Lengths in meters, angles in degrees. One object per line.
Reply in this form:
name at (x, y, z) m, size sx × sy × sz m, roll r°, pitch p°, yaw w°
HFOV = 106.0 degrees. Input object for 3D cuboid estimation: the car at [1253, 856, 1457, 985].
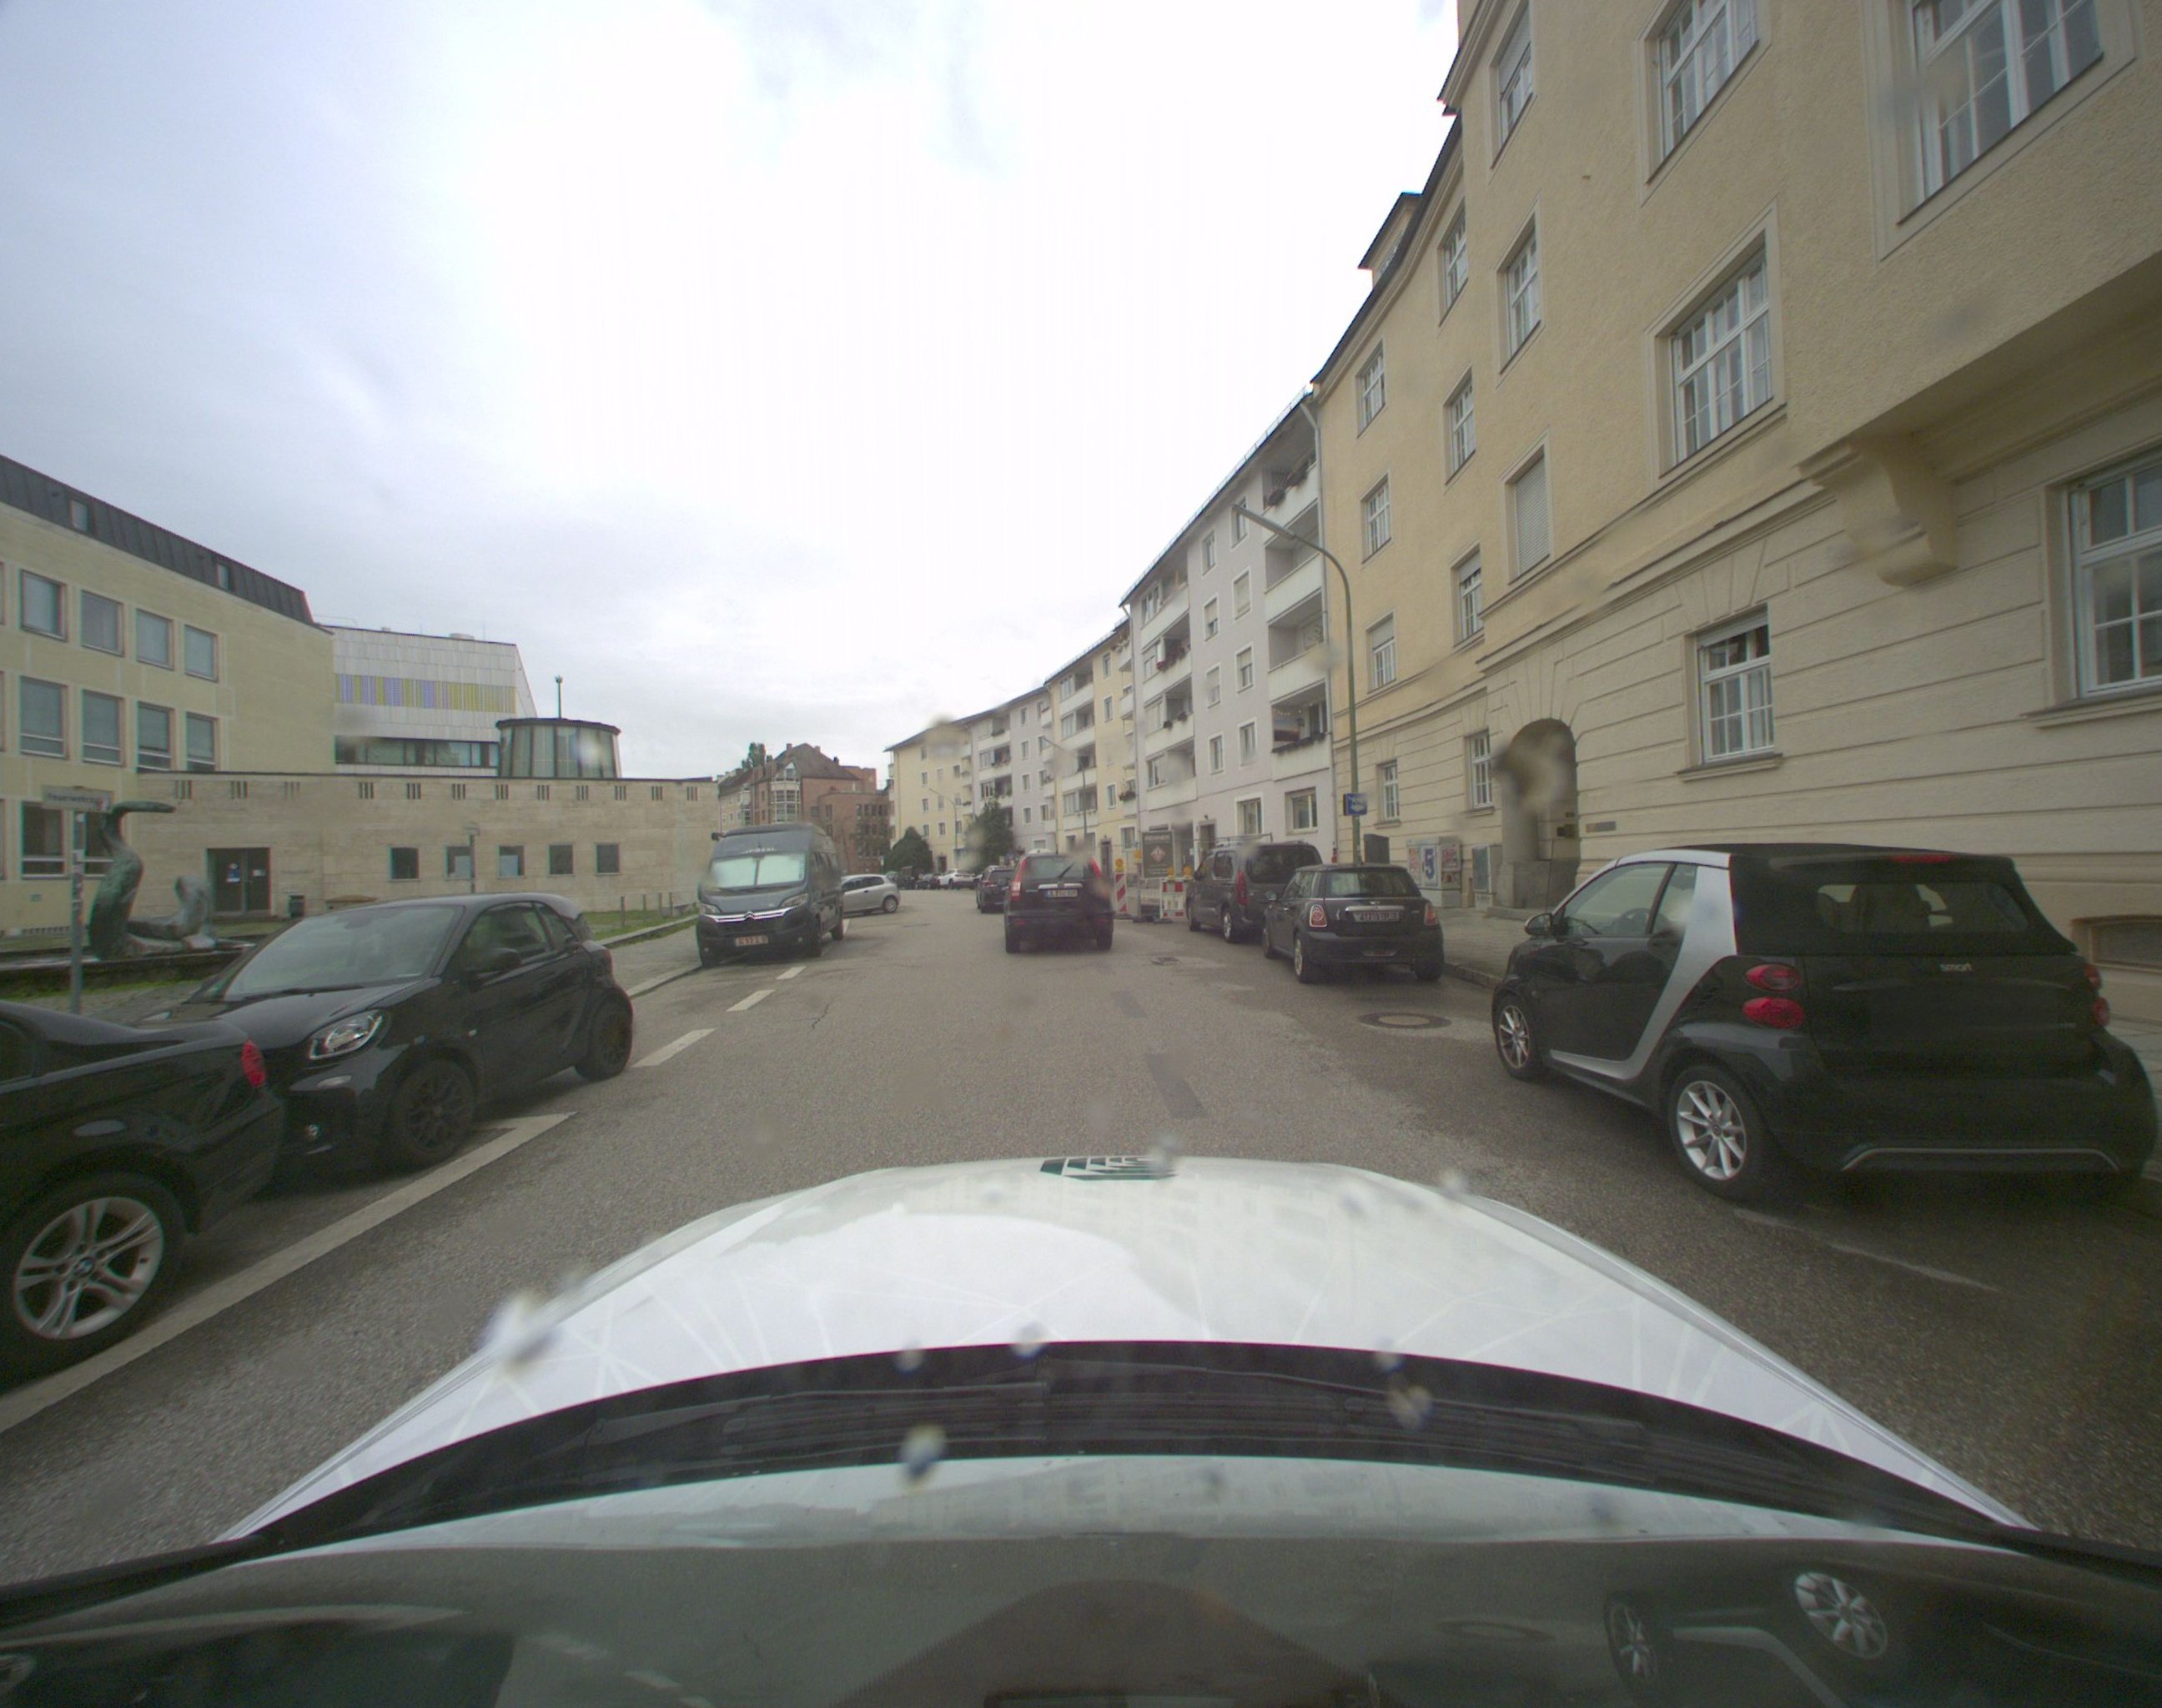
car at (3.501, 0.775, 11.127) m, size 1.701 × 1.447 × 3.833 m, roll -1°, pitch -1°, yaw 3°

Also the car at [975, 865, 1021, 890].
car at (-5.443, 1.510, 52.960) m, size 1.733 × 1.483 × 3.966 m, roll -1°, pitch -1°, yaw -26°

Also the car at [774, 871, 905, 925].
car at (-8.524, 1.531, 29.000) m, size 1.663 × 1.481 × 4.112 m, roll -7°, pitch -2°, yaw 41°

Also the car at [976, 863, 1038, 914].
car at (-2.517, 1.082, 26.810) m, size 1.679 × 1.481 × 4.072 m, roll -2°, pitch -1°, yaw -10°

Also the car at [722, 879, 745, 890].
car at (-49.508, 4.281, 115.899) m, size 1.823 × 1.472 × 4.068 m, roll -1°, pitch -1°, yaw -40°

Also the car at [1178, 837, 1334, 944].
car at (3.267, 0.650, 16.092) m, size 1.775 × 1.807 × 4.267 m, roll 0°, pitch -1°, yaw -6°

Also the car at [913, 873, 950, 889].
car at (-12.158, 2.176, 66.117) m, size 1.709 × 1.236 × 3.566 m, roll -1°, pitch -1°, yaw -32°

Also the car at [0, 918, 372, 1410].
car at (-4.174, 1.035, 1.586) m, size 1.795 × 1.406 × 4.449 m, roll -4°, pitch -1°, yaw -4°

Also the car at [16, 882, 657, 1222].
car at (-4.493, 1.032, 5.580) m, size 1.667 × 1.502 × 2.974 m, roll -4°, pitch -1°, yaw -4°

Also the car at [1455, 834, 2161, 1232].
car at (3.562, 0.709, 4.713) m, size 1.528 × 1.524 × 3.113 m, roll -1°, pitch -1°, yaw 4°

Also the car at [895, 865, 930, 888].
car at (-14.502, 1.910, 69.999) m, size 1.736 × 1.878 × 3.960 m, roll -1°, pitch -1°, yaw -32°

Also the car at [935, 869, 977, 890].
car at (-9.495, 1.894, 61.798) m, size 1.736 × 1.483 × 3.960 m, roll -1°, pitch -1°, yaw -32°

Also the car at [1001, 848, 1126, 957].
car at (-0.457, 0.786, 14.759) m, size 1.889 × 1.647 × 3.982 m, roll -2°, pitch -1°, yaw -6°

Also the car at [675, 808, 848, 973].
car at (-6.209, 0.634, 16.683) m, size 2.166 × 2.641 × 5.993 m, roll -3°, pitch 0°, yaw -12°
